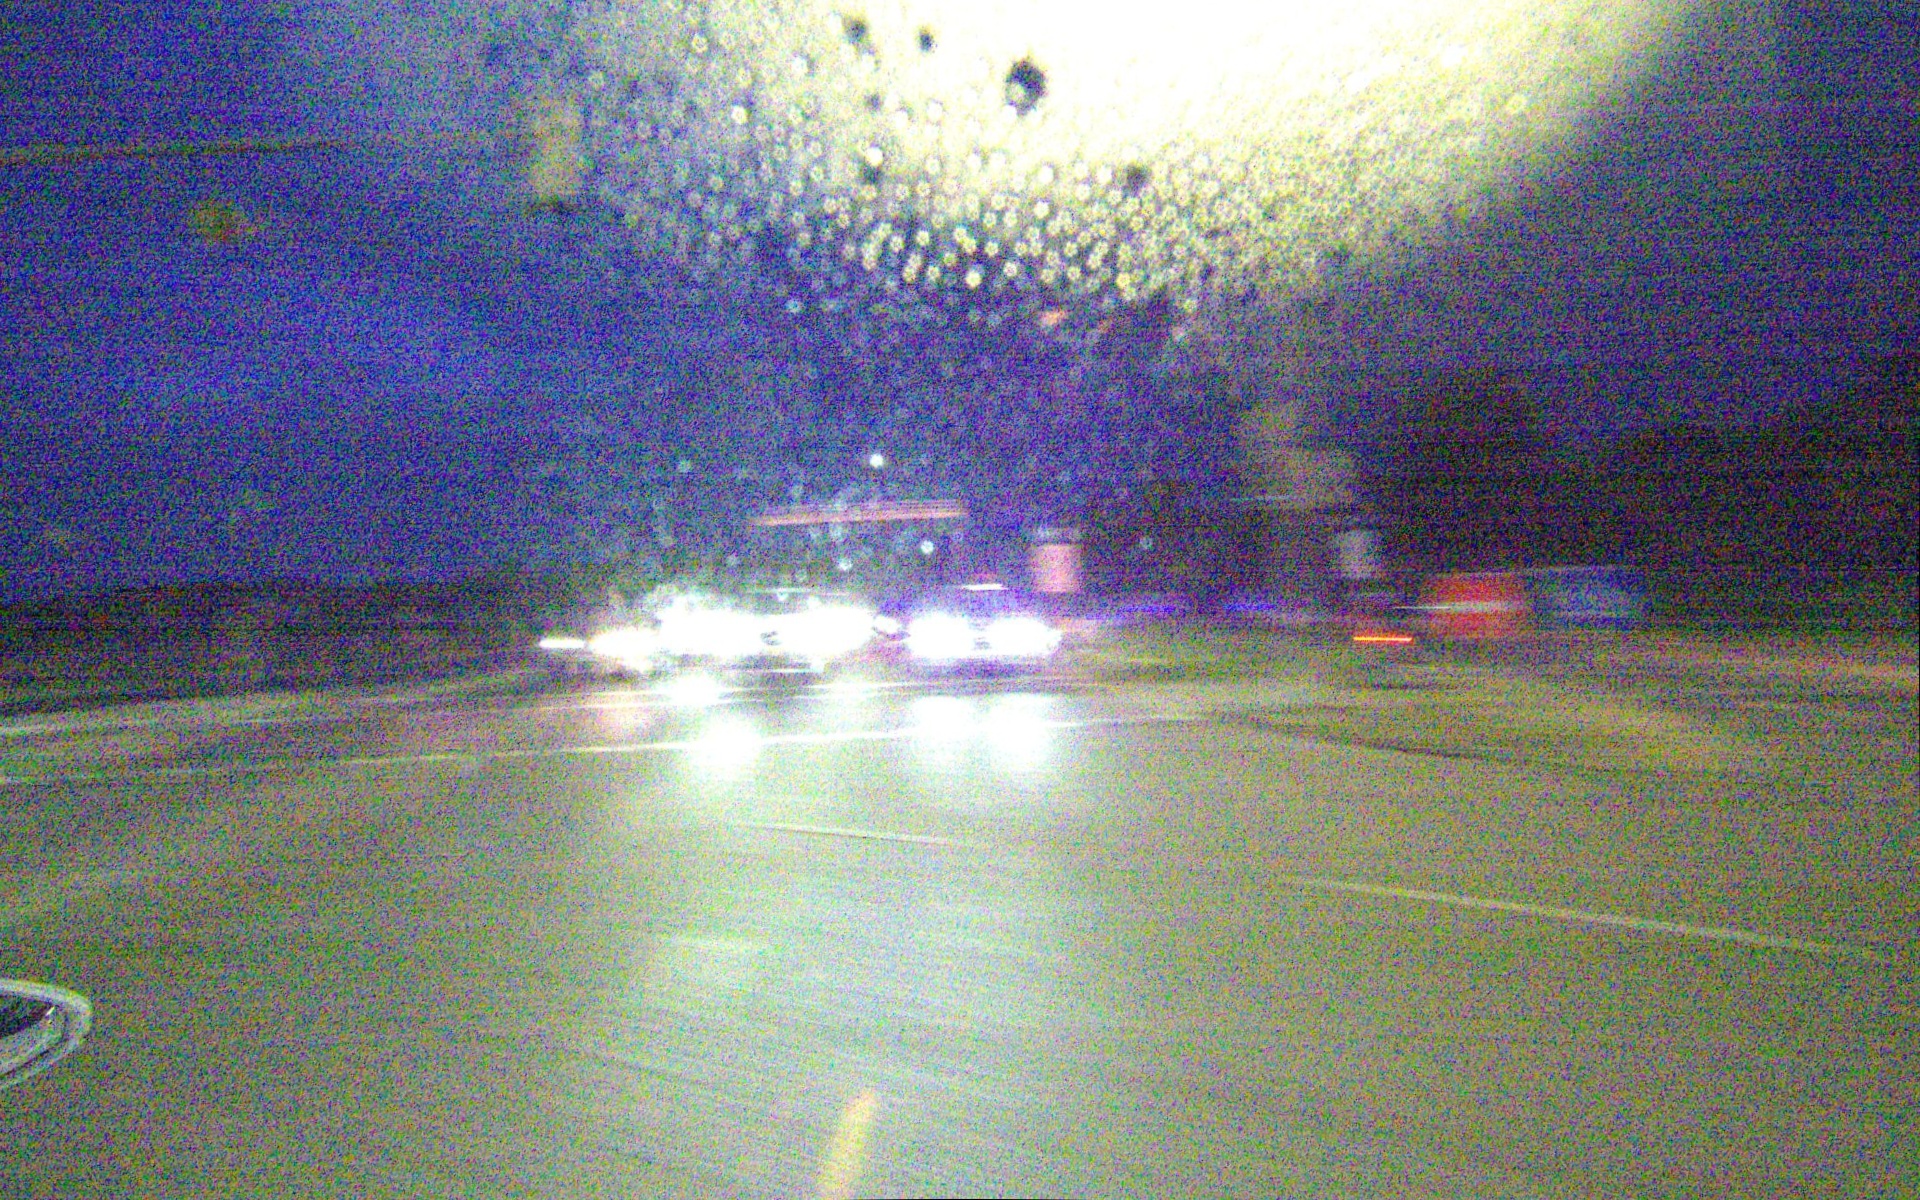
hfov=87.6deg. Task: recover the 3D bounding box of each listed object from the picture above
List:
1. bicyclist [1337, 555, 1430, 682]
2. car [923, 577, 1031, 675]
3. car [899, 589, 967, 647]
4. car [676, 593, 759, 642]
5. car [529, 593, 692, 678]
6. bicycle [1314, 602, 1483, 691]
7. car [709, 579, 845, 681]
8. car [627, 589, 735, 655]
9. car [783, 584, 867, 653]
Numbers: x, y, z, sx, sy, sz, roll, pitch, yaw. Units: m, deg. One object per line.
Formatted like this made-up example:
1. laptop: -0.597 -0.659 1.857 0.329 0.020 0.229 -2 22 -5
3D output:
1. bicyclist: 5.746 0.241 13.600 0.981 1.673 0.603 -1 1 -8
2. car: 0.215 0.421 19.430 1.821 1.655 4.583 -1 1 -2
3. car: -0.744 0.453 27.703 1.744 1.501 3.909 0 1 -1
4. car: -7.900 0.523 33.035 1.802 1.408 4.395 -2 1 -2
5. car: -6.800 0.621 19.977 1.751 1.465 4.289 -1 1 -1
6. bicycle: 5.924 0.610 13.552 2.029 1.116 0.694 -1 1 -8
7. car: -3.349 0.484 19.169 1.877 1.705 4.418 -1 1 -2
8. car: -7.233 0.515 26.360 1.802 1.545 3.998 -2 1 -2
9. car: -3.491 0.419 26.604 1.717 1.648 4.361 -1 1 -2
